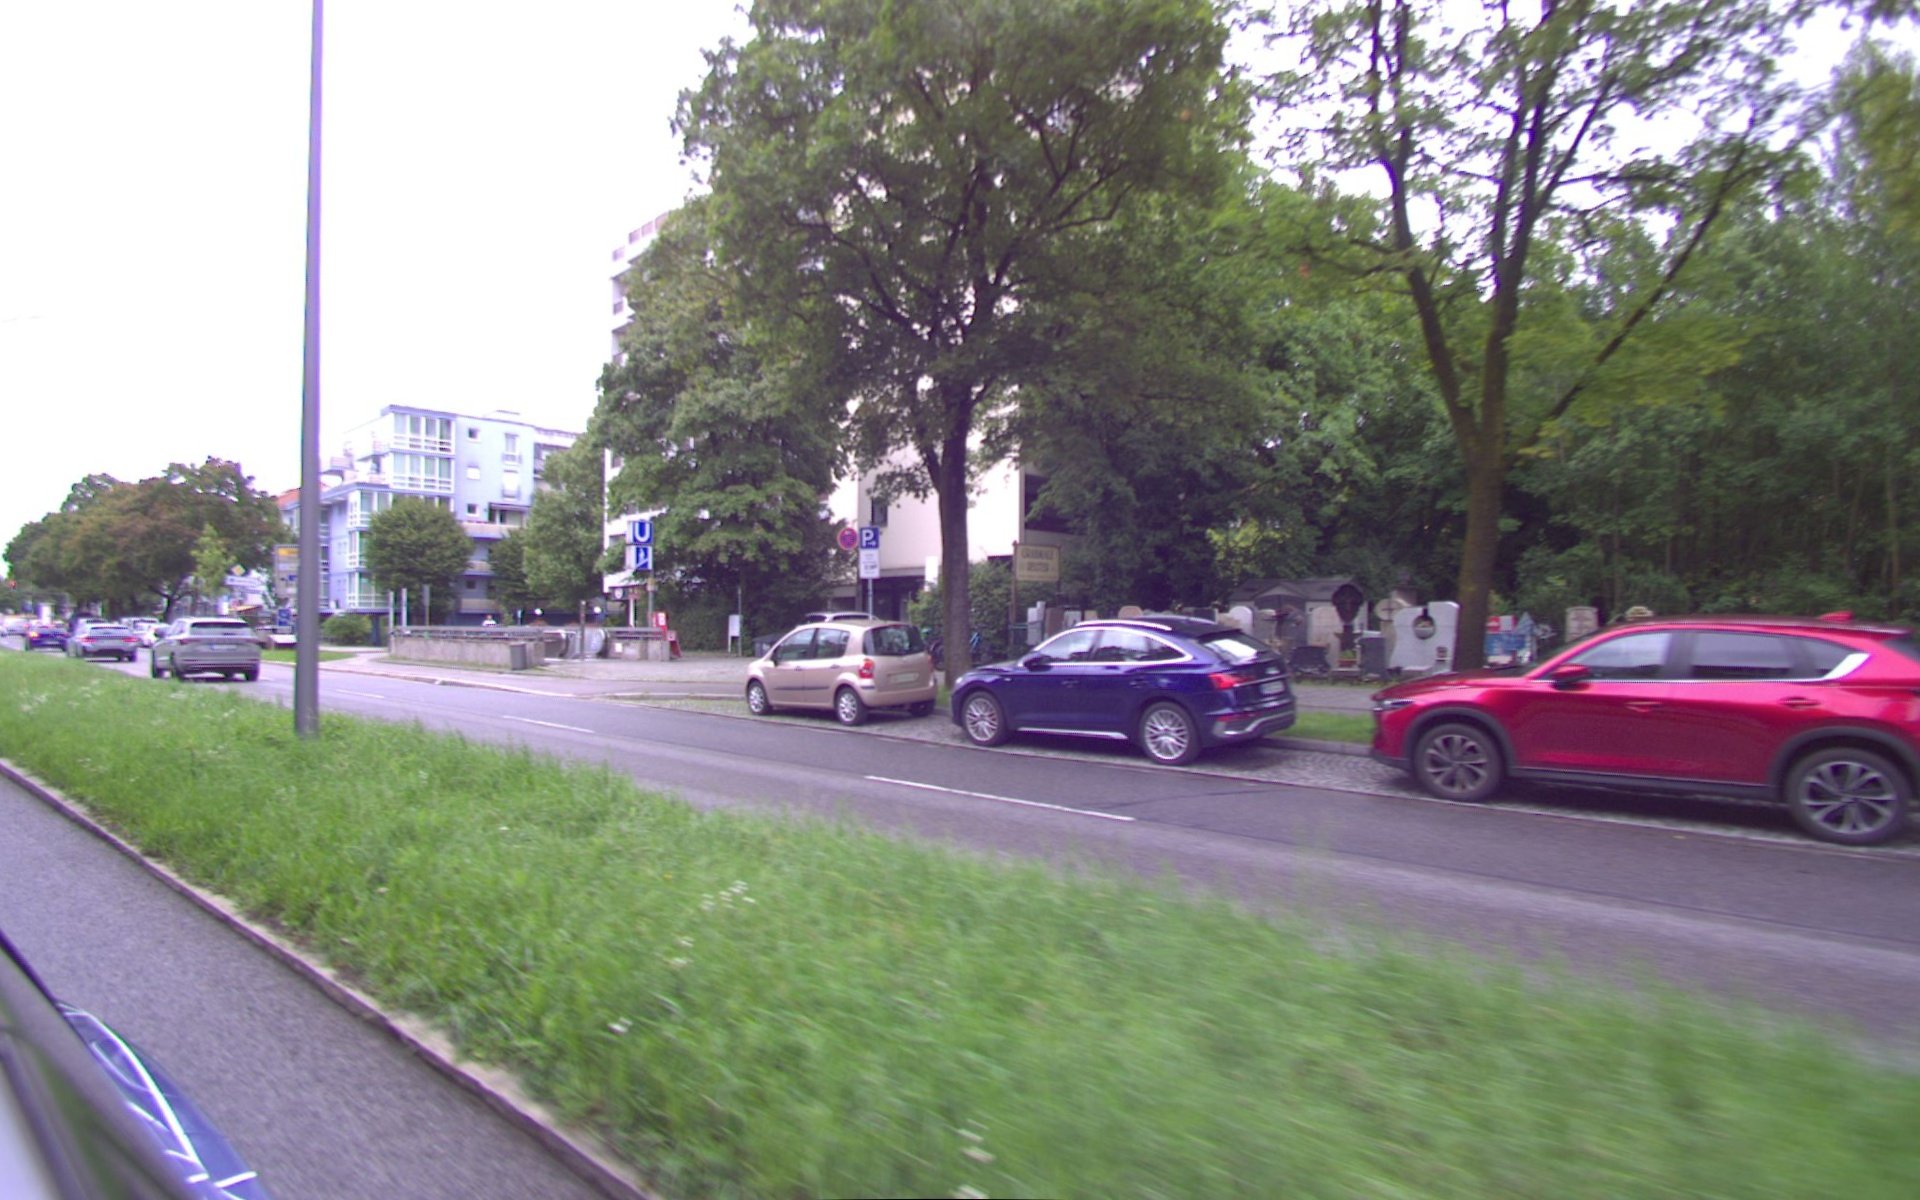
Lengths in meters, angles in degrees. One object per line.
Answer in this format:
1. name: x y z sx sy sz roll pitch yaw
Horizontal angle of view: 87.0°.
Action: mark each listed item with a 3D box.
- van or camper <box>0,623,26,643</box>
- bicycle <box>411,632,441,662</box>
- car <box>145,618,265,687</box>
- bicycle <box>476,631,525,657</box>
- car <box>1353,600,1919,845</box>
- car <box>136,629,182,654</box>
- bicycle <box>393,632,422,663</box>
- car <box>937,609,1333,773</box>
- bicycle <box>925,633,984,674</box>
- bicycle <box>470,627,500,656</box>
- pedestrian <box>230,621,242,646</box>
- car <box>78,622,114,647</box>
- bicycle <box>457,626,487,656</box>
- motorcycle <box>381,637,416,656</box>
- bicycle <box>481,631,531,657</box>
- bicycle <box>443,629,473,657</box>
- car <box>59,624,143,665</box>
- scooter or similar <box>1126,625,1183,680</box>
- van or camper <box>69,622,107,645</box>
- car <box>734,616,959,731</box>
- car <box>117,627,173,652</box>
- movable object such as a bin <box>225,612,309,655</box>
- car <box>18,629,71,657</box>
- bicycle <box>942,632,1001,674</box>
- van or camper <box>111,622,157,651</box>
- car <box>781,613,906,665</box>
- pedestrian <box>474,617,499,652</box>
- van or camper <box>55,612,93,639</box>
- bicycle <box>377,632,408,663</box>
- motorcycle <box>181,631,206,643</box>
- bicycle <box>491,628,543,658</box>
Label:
1. van or camper: -99.756 3.439 106.332 5.199 2.031 1.993 -1 -3 43
2. bicycle: -20.120 1.762 38.130 0.403 1.048 1.955 -4 1 -44
3. car: -19.532 1.301 26.099 4.377 1.637 1.746 -2 -3 44
4. bicycle: -20.442 1.938 45.035 1.925 1.112 0.490 2 -3 -44
5. car: 6.031 0.884 8.721 4.605 1.664 1.720 -2 0 42
6. car: -50.424 2.586 63.682 3.901 1.501 1.630 -1 -3 42
7. bicycle: -20.541 1.756 37.614 0.403 1.086 1.955 -4 1 -44
8. car: 1.983 0.982 12.609 4.685 1.656 1.719 -2 -1 44
9. bicycle: -0.128 1.355 25.939 0.436 1.014 1.743 -2 -3 43
10. bicycle: -18.679 1.629 39.809 0.403 1.105 1.955 -4 1 -44
11. pedestrian: -53.143 2.466 74.293 0.634 1.819 0.781 2 -3 -41
12. car: -72.154 2.846 84.504 4.547 2.013 1.776 -2 -3 44
13. bicycle: -19.027 1.597 39.429 0.403 1.112 1.955 -4 1 -44
14. motorcycle: -35.559 2.952 64.120 2.461 1.141 0.495 0 -2 22
15. bicycle: -19.967 1.915 44.536 1.925 1.112 0.490 2 -3 -44
16. bicycle: -19.328 1.643 38.924 0.403 1.038 1.955 -4 1 -44
17. car: -33.143 1.677 39.012 4.865 1.496 1.894 -1 -3 43
18. scooter or similar: 4.174 1.115 21.786 0.429 1.135 1.293 1 -2 -34
19. van or camper: -76.467 2.893 88.727 4.705 1.957 1.998 -2 -2 44
20. car: -1.938 1.110 16.530 1.628 1.626 3.821 0 -1 -45
21. car: -53.974 2.607 66.998 4.654 1.628 1.684 -1 -2 36
22. movable object such as a bin: -33.035 1.589 48.236 3.994 1.968 2.172 -1 -2 38
23. car: -47.939 2.235 52.989 3.967 1.413 1.673 -2 -2 42
24. bicycle: 0.306 1.326 25.535 0.436 1.014 1.743 -2 -3 43
25. van or camper: -57.771 2.534 70.779 5.211 1.983 1.785 -1 -3 43
26. car: -3.817 1.281 33.629 1.749 1.601 3.941 -2 -3 44
27. pedestrian: -23.209 1.699 49.625 1.129 1.721 0.662 -1 -2 38
28. van or camper: -83.400 2.401 95.256 5.548 2.506 2.027 -1 -3 42
29. bicycle: -20.867 1.722 37.200 0.403 1.097 2.086 -4 1 -44
30. motorcycle: -73.657 3.543 97.244 0.463 1.179 1.791 -1 -2 38
31. bicycle: -19.060 1.849 43.561 1.925 1.111 0.560 -4 2 -44
